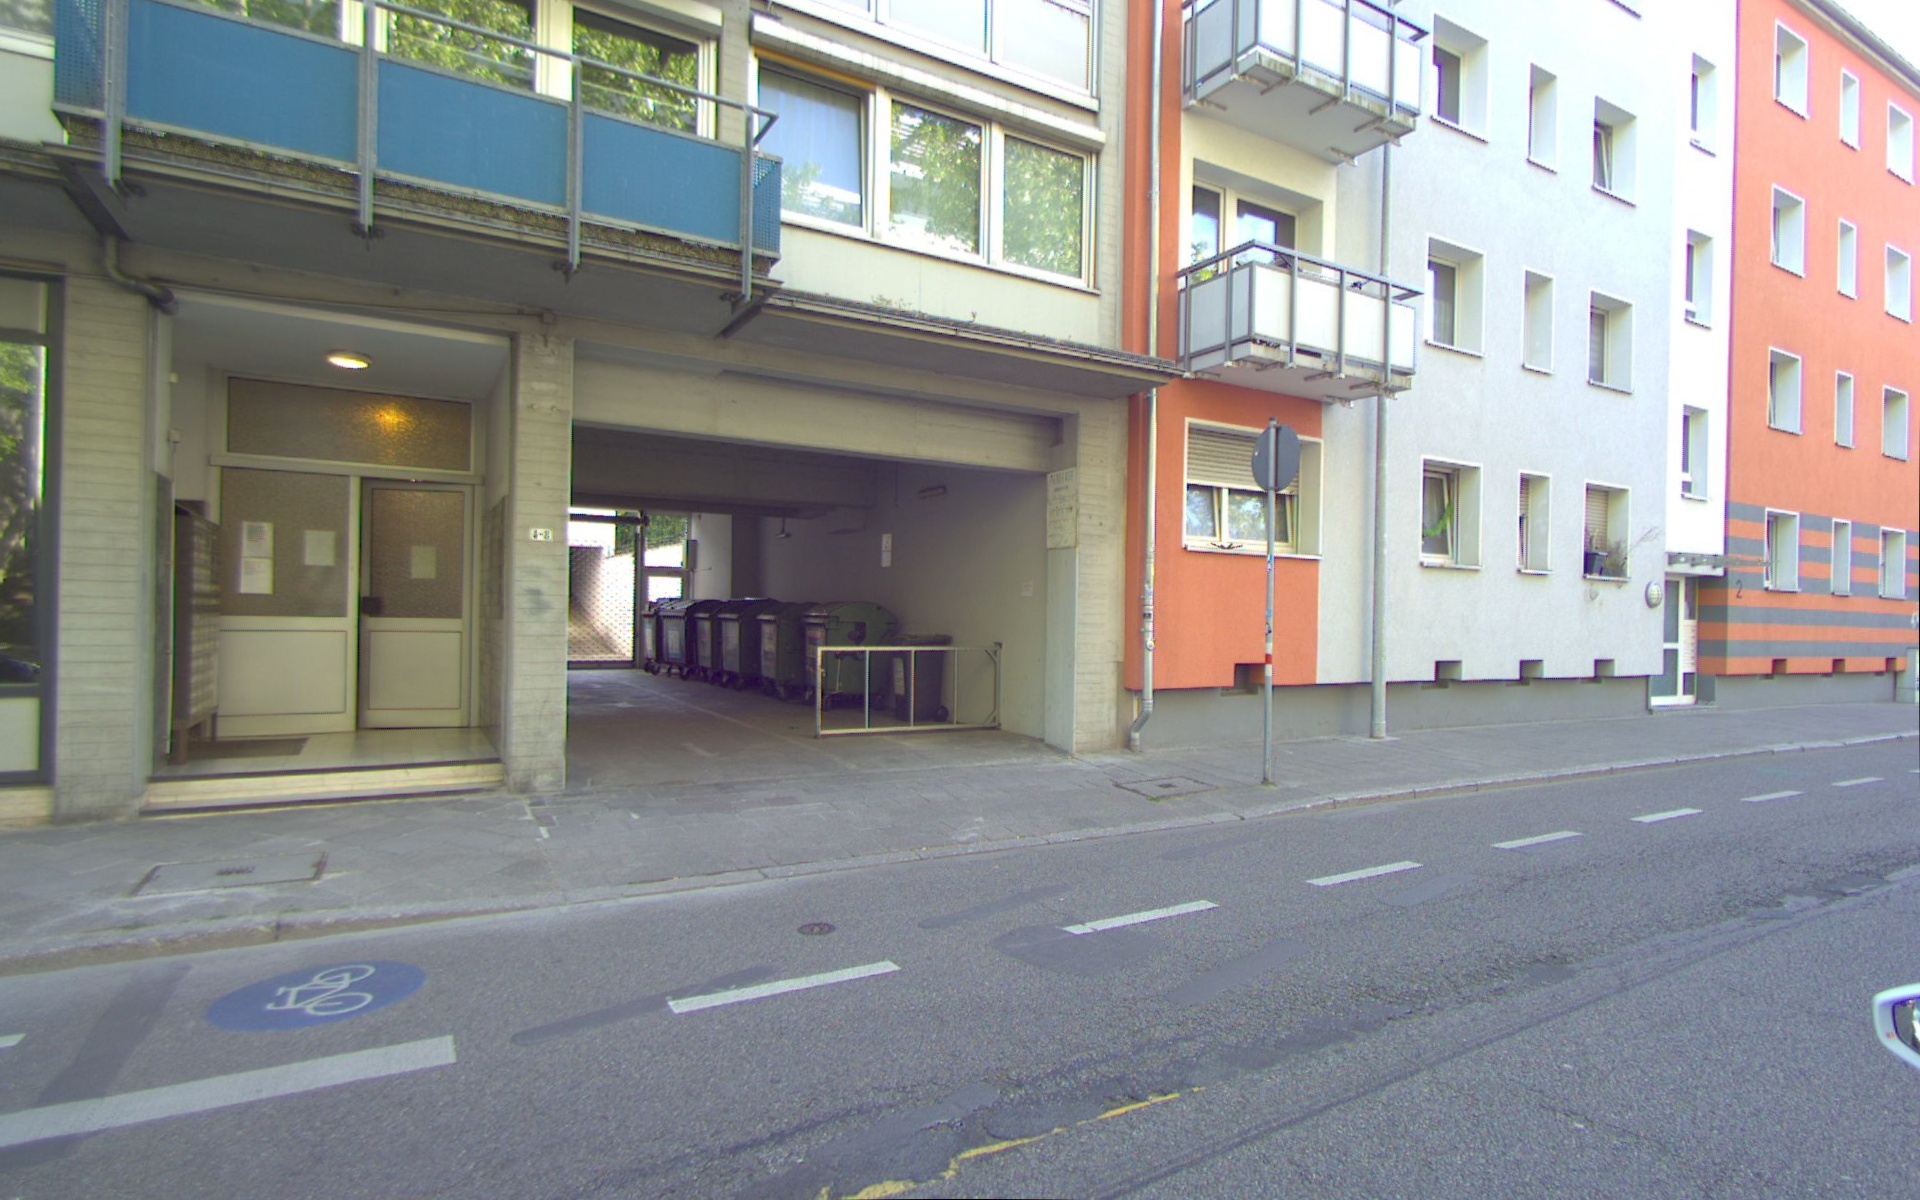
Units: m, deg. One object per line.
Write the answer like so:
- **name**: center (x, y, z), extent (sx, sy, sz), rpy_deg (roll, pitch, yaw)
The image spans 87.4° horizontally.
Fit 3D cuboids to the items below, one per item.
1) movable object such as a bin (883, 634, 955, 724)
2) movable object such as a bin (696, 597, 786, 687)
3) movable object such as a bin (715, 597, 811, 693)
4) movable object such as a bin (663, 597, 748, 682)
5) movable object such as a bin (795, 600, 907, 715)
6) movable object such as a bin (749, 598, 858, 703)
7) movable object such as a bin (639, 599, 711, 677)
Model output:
- **movable object such as a bin**: center (-0.517, 0.962, 12.459), extent (0.694, 1.061, 0.567), rpy_deg (2, 0, -28)
- **movable object such as a bin**: center (-3.882, 0.731, 17.749), extent (1.264, 1.515, 1.155), rpy_deg (2, 0, -28)
- **movable object such as a bin**: center (-3.279, 0.729, 16.701), extent (1.264, 1.506, 1.155), rpy_deg (2, 0, -28)
- **movable object such as a bin**: center (-4.747, 0.723, 18.692), extent (1.264, 1.506, 1.155), rpy_deg (2, 0, -28)
- **movable object such as a bin**: center (-1.516, 0.758, 13.811), extent (1.128, 1.484, 1.255), rpy_deg (2, 0, -28)
- **movable object such as a bin**: center (-2.382, 0.737, 15.165), extent (1.264, 1.493, 1.265), rpy_deg (2, -1, -28)
- **movable object such as a bin**: center (-5.666, 0.734, 19.948), extent (1.128, 1.484, 1.129), rpy_deg (2, 0, -28)
